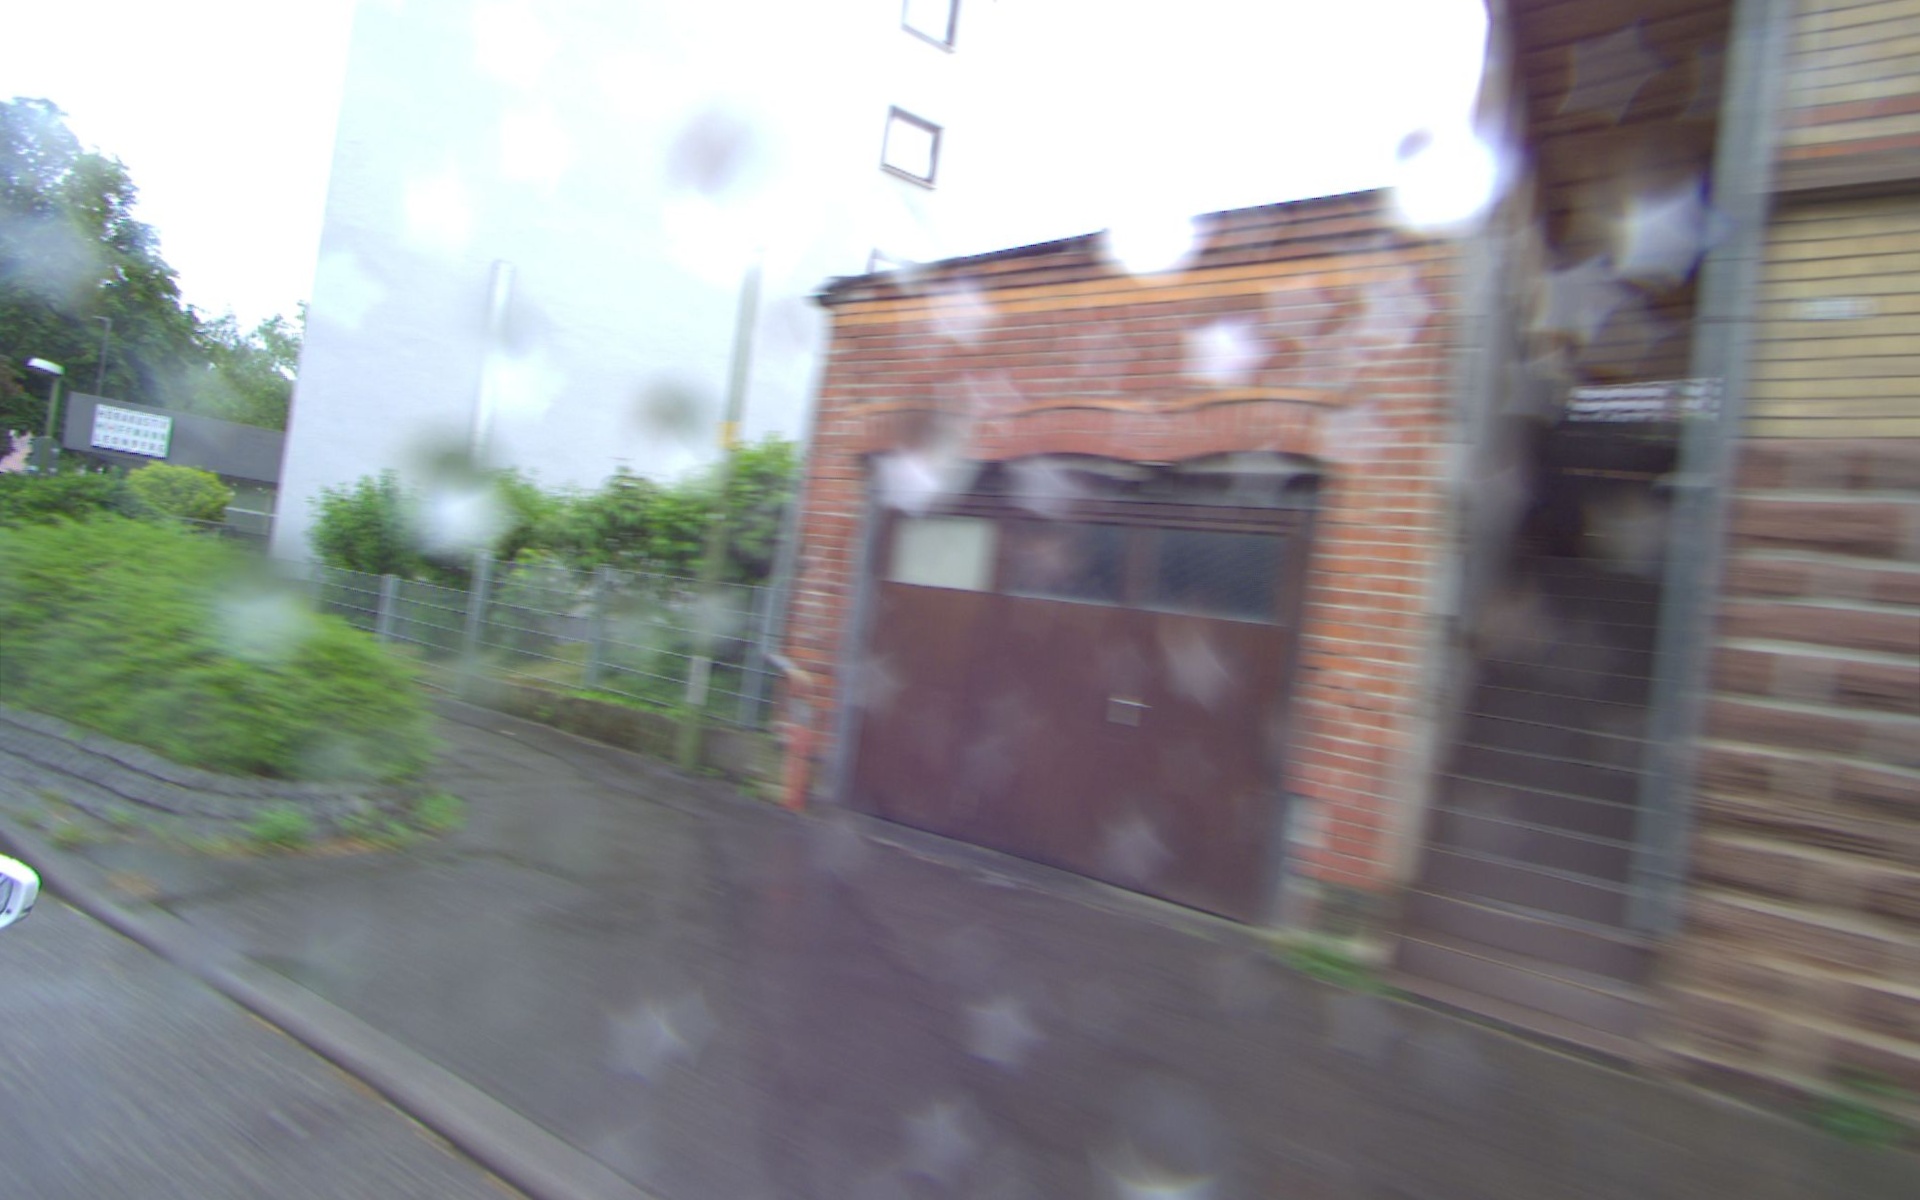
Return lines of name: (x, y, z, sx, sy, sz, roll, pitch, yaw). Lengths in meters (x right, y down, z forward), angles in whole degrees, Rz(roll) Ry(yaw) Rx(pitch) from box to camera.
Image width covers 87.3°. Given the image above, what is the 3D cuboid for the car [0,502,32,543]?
car: (-40.791, -3.394, 41.075, 3.863, 1.592, 1.705, 7, -1, -32)
